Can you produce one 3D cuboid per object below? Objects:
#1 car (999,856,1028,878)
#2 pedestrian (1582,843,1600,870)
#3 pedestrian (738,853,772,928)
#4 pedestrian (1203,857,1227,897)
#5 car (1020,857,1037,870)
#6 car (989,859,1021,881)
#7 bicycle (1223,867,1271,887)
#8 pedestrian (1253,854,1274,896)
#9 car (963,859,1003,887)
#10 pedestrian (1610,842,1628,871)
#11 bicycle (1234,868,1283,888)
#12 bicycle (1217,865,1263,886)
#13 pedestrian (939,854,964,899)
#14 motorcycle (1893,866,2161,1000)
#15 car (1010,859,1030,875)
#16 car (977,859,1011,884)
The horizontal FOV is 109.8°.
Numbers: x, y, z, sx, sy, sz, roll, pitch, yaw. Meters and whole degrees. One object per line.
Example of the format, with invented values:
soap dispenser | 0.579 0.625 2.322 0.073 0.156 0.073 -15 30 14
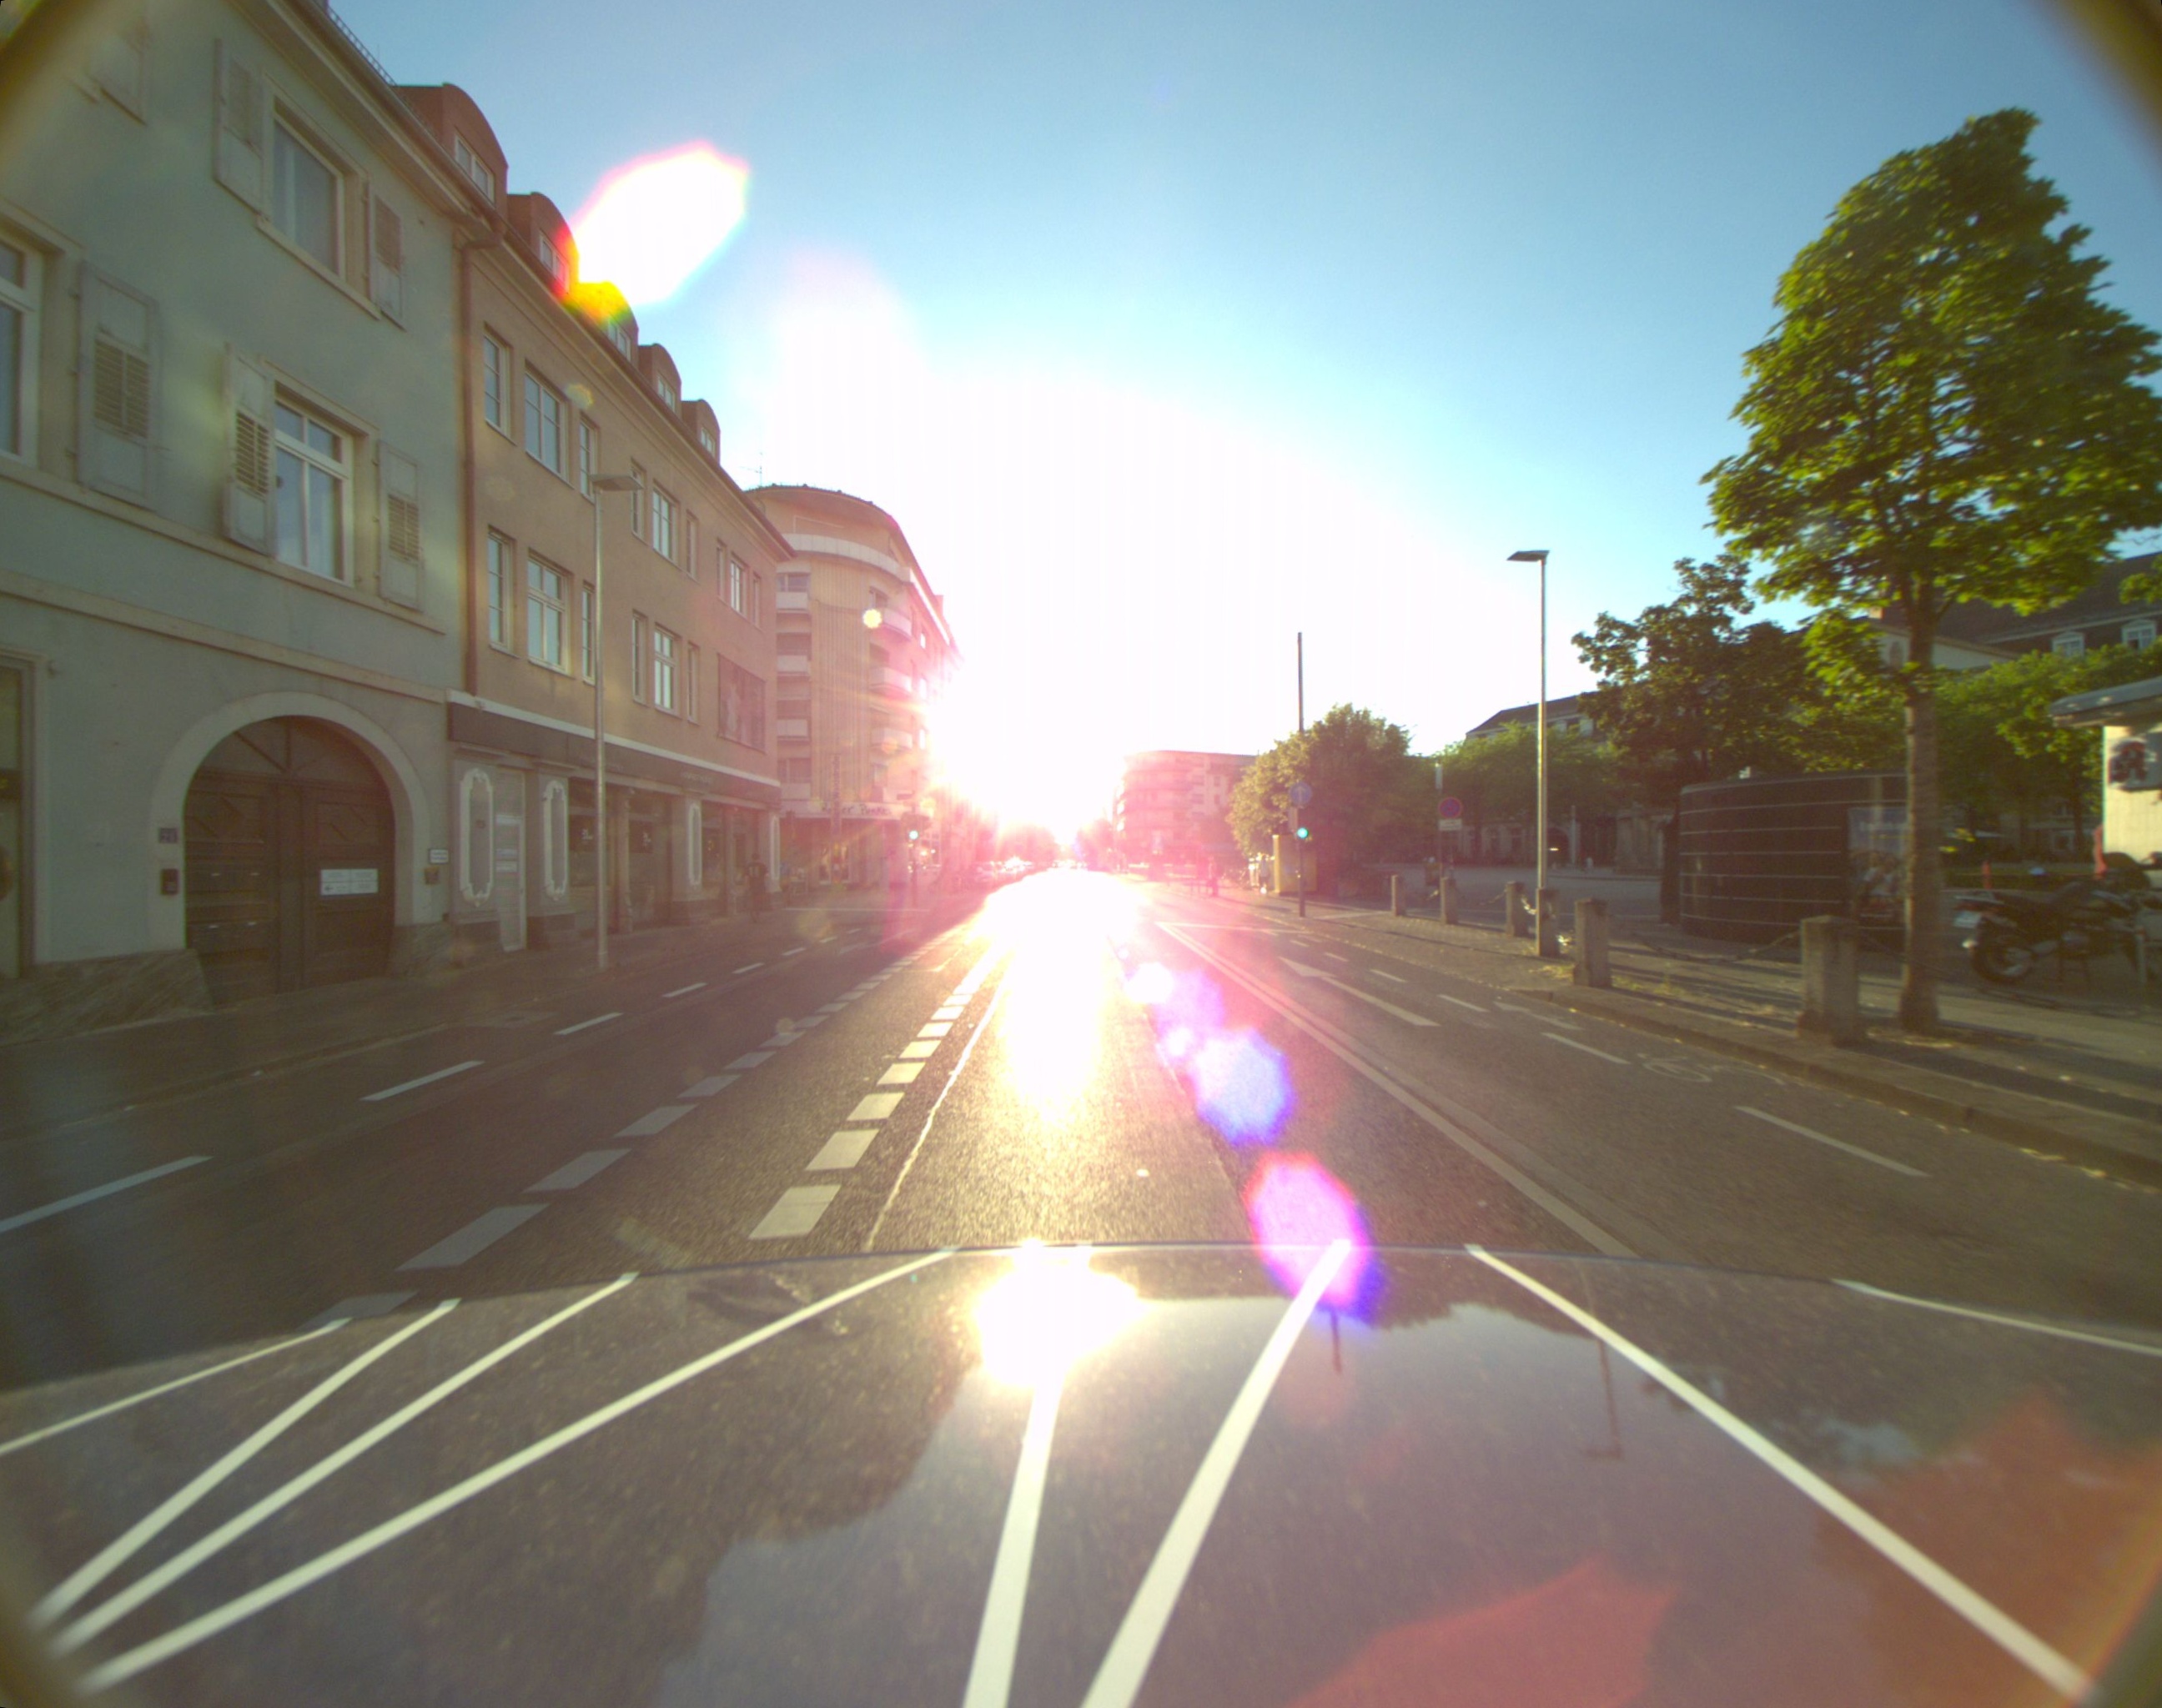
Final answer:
car | -5.632 1.060 64.167 1.998 1.638 4.508 -2 1 0
pedestrian | 31.143 0.149 46.394 0.612 1.666 0.679 -3 1 -35
pedestrian | -7.981 0.882 18.646 0.673 1.774 0.720 1 2 -17
pedestrian | 5.656 0.964 32.027 0.905 1.666 0.780 -2 1 11
car | -6.736 1.217 97.949 1.999 1.538 4.508 -2 1 -3
car | -5.803 1.192 58.321 1.999 1.538 4.508 -2 1 0
bicycle | 8.717 1.220 40.047 2.399 0.953 0.672 -2 1 6
pedestrian | 7.373 0.844 30.719 0.778 1.666 0.907 -2 1 13
car | -5.908 1.119 46.449 1.999 1.538 4.508 -2 1 -3
pedestrian | 31.746 0.152 44.814 0.555 1.666 0.673 -3 1 -34
bicycle | 9.086 1.219 38.981 2.399 0.953 0.672 -2 1 6
bicycle | 8.730 1.184 41.692 2.399 1.065 0.672 -2 1 6
pedestrian | -5.184 0.885 30.505 0.842 1.736 0.700 -2 1 -2
motorcycle | 10.746 0.857 8.447 2.450 1.358 0.780 -2 0 4
car | -6.799 1.450 85.008 1.999 1.538 4.508 -2 1 -3
car | -5.995 1.163 52.862 1.999 1.538 4.508 -2 1 -3
